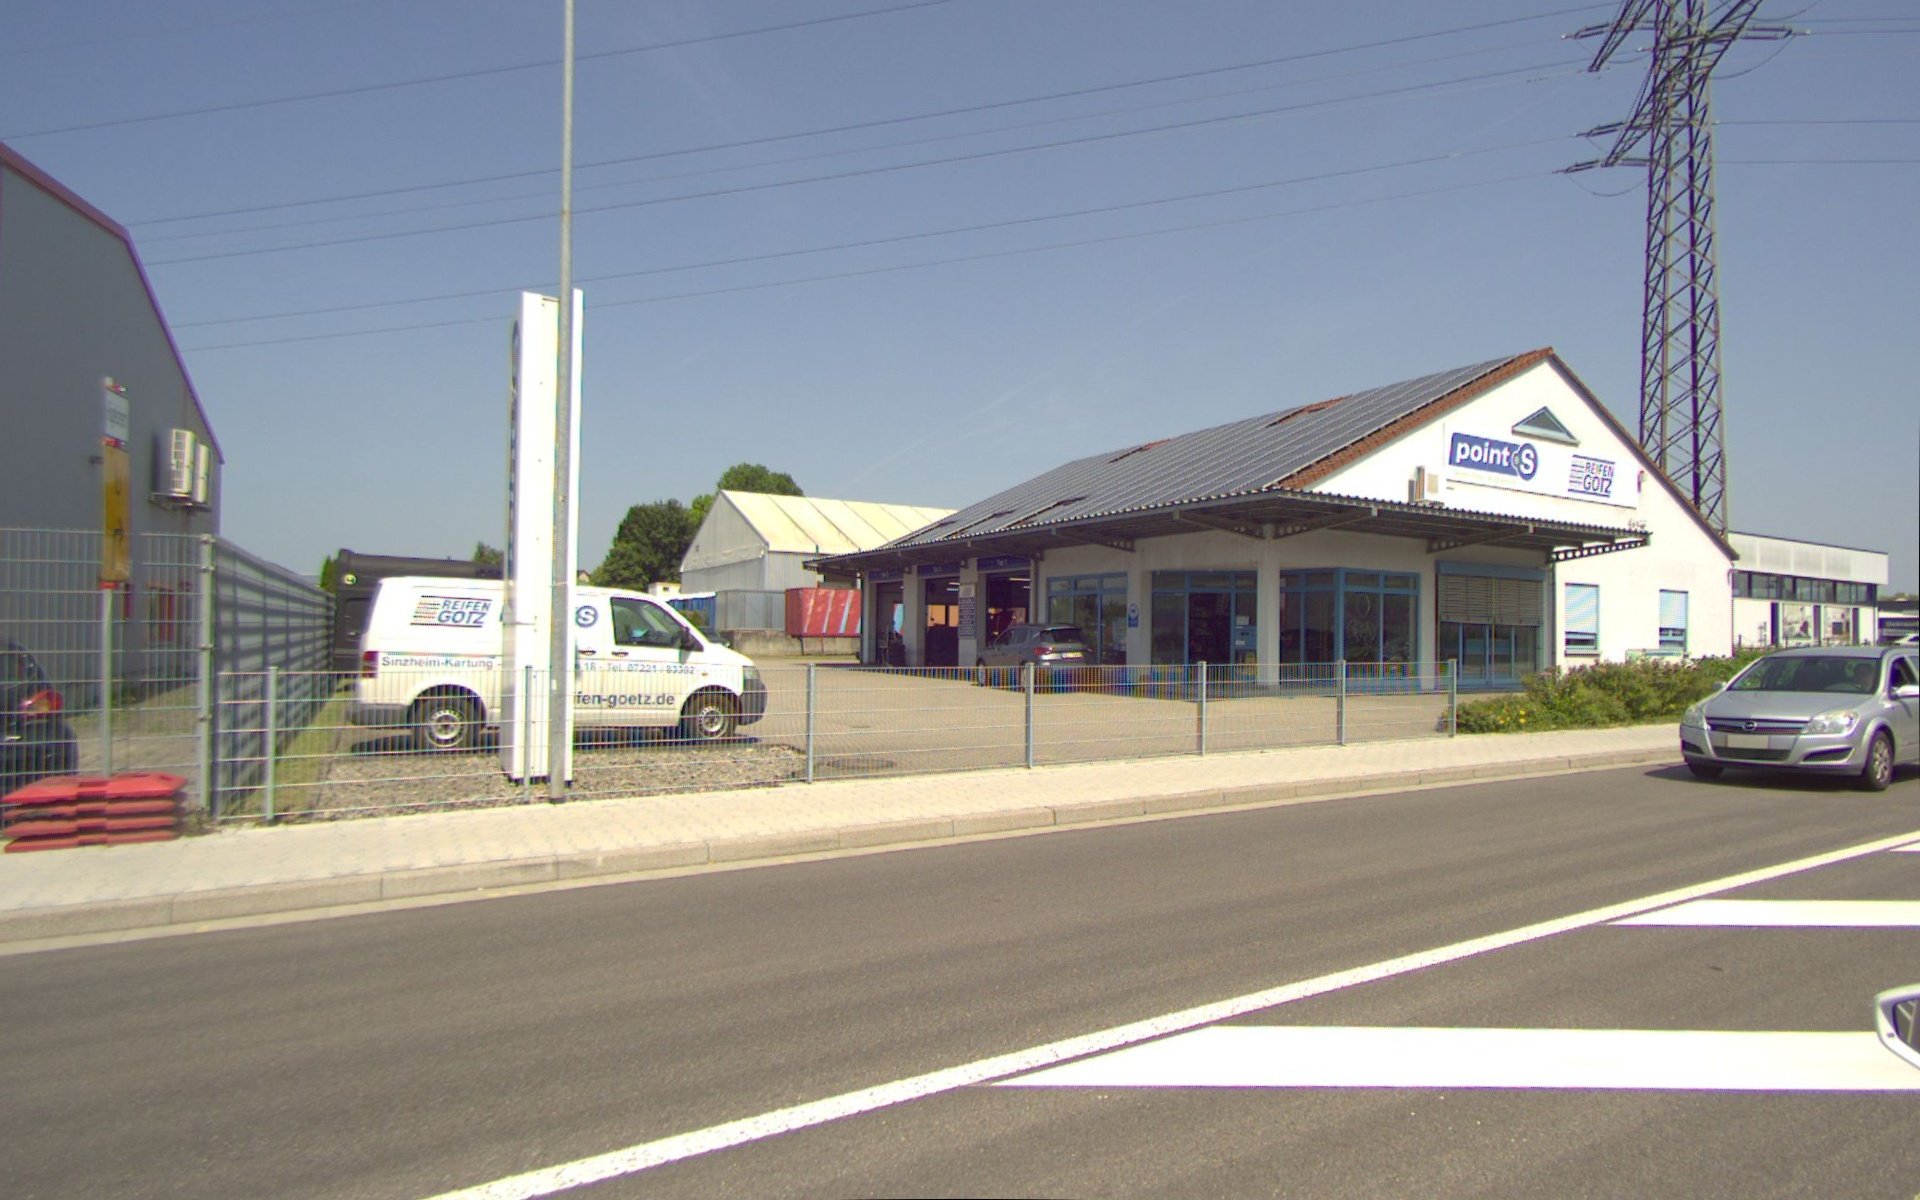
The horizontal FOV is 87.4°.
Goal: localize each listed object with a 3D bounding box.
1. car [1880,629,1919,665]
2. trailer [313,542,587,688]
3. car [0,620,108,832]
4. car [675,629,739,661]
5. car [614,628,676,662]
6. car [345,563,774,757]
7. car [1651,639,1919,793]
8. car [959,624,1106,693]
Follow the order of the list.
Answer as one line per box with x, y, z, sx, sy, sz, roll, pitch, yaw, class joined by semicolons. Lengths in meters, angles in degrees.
42.620;2.105;43.195;1.744;1.475;4.202;1;1;-31;car
-11.101;0.407;22.112;5.065;2.886;2.152;3;-1;-31;trailer
-8.612;0.908;8.073;3.934;1.513;1.738;-1;-2;35;car
-11.974;2.105;47.444;1.765;1.467;3.965;1;-3;-33;car
-14.454;2.057;45.970;1.765;1.467;3.965;1;-3;-33;car
-4.879;0.748;12.556;4.624;2.040;1.985;2;-3;-29;car
10.037;1.222;11.592;4.209;1.485;1.756;2;-4;-30;car
1.650;1.358;24.163;1.761;1.505;3.974;1;-2;-26;car
